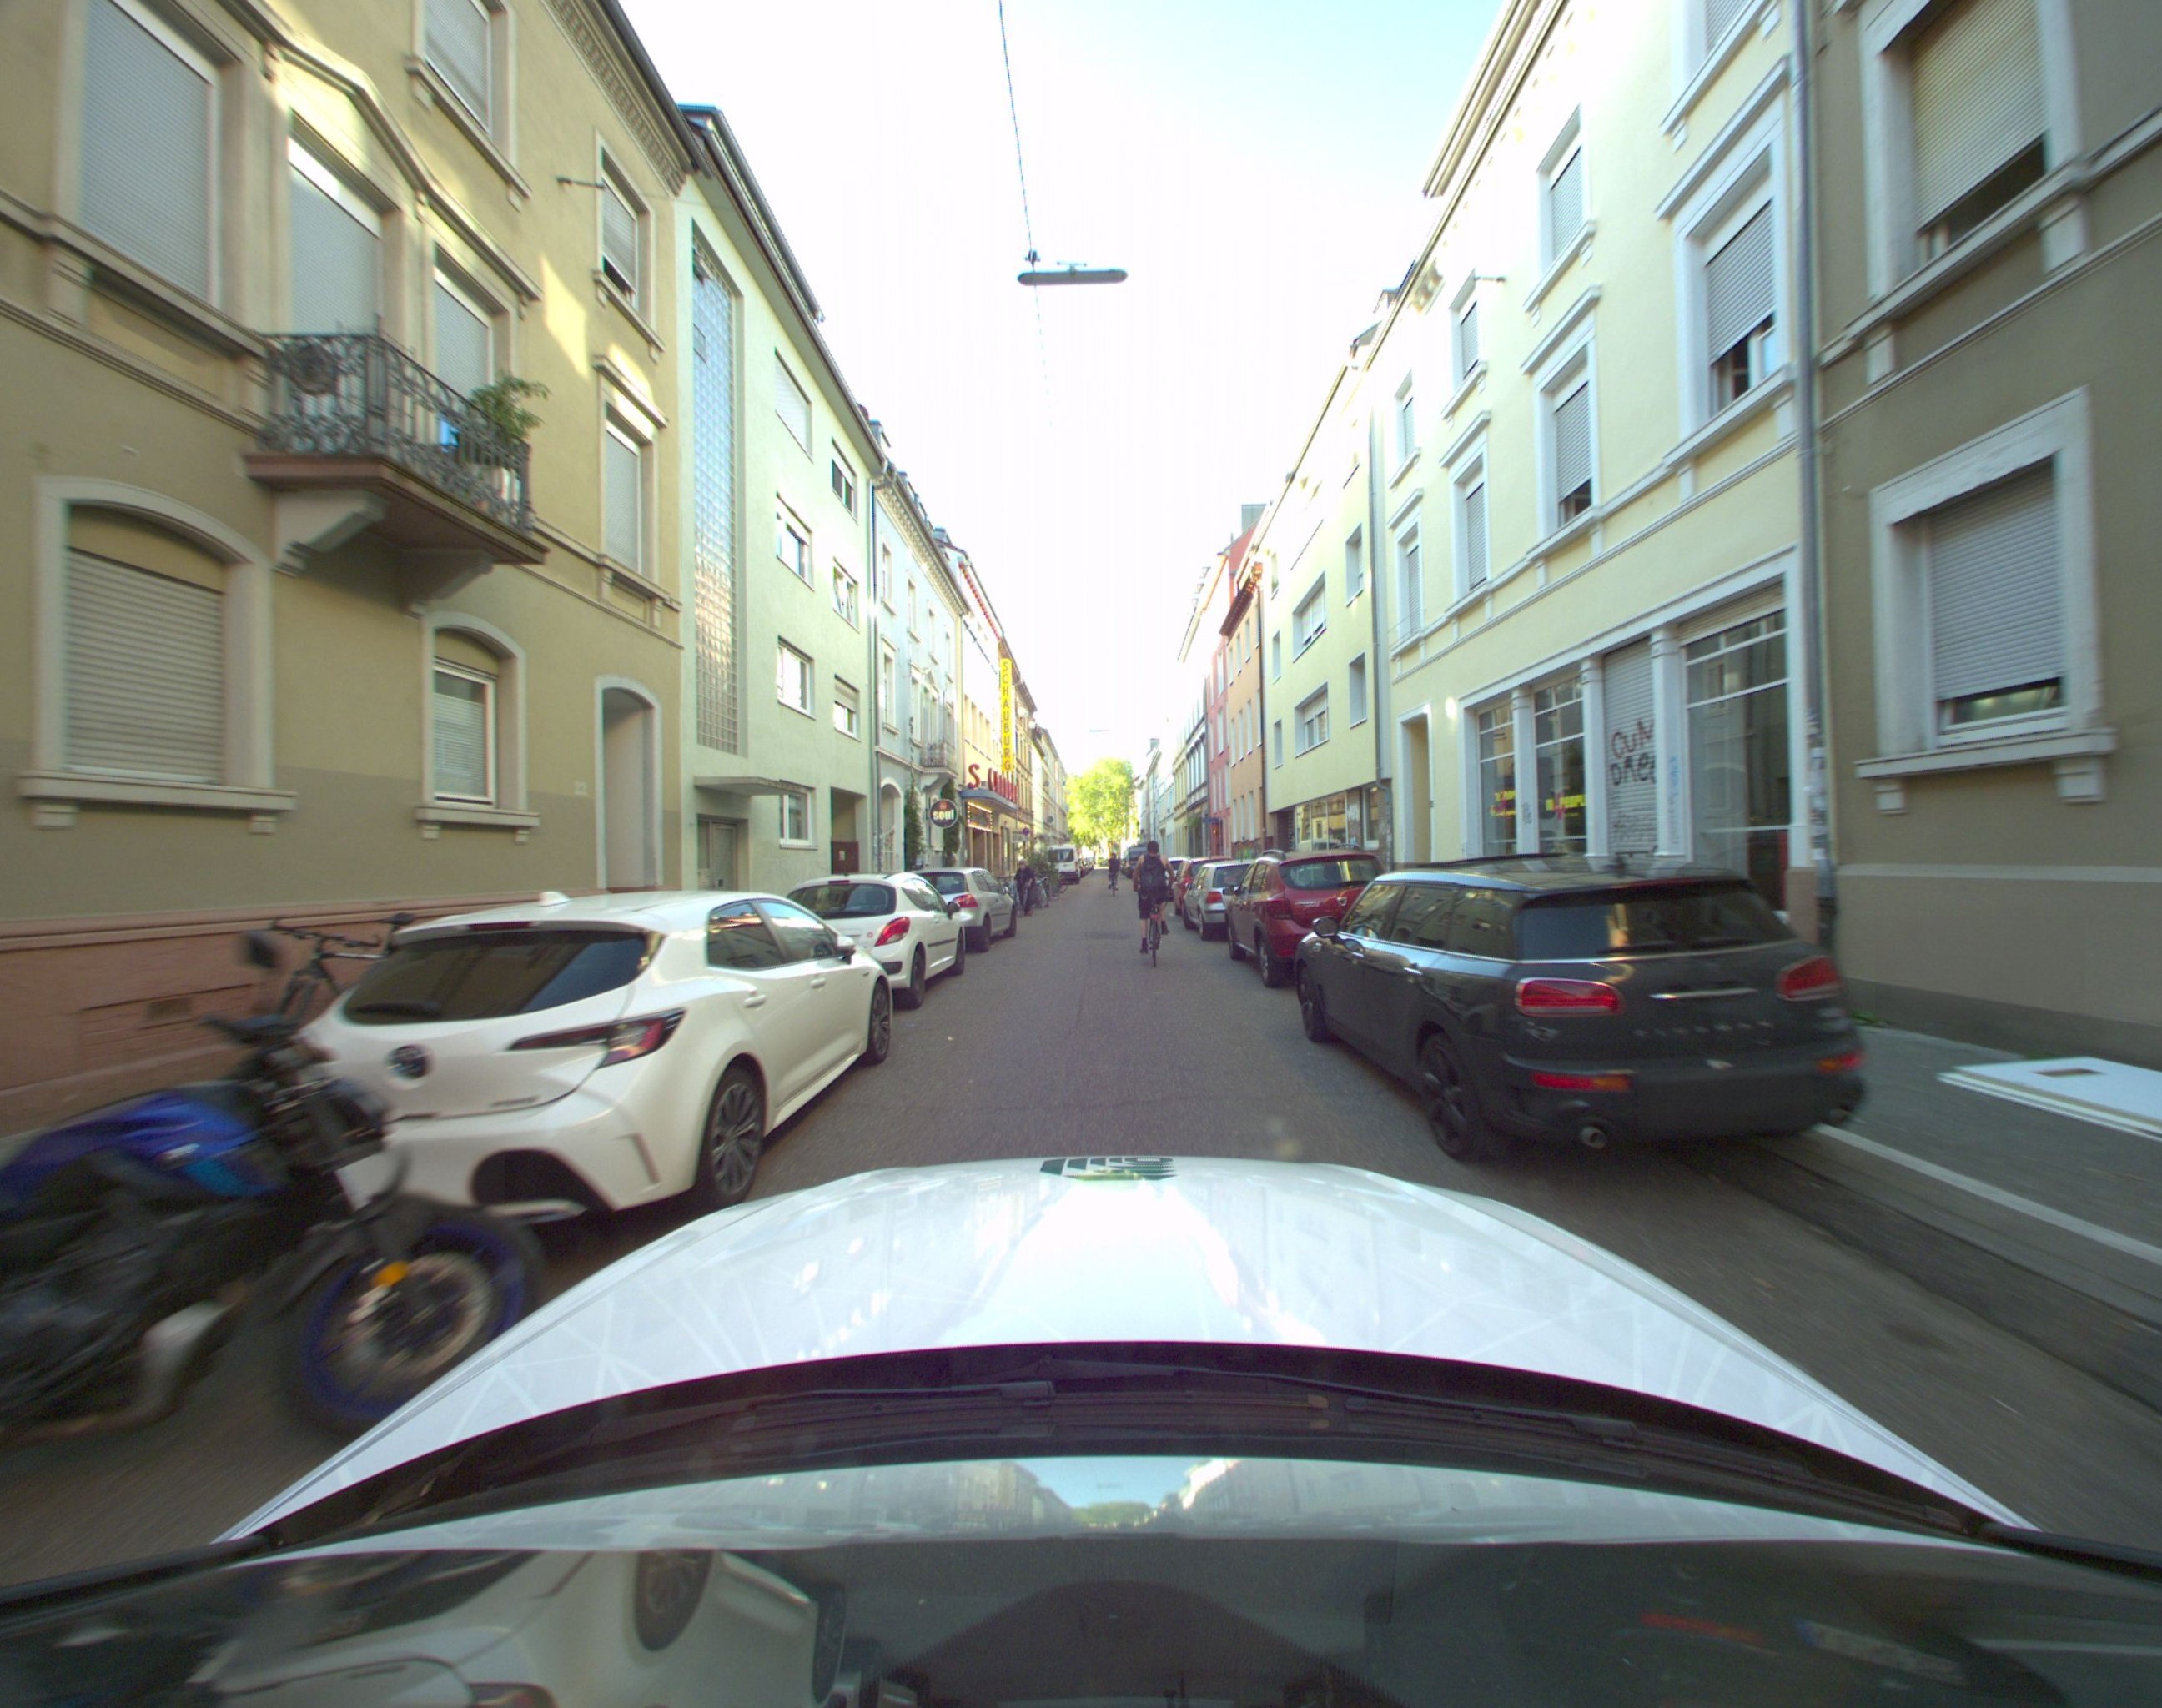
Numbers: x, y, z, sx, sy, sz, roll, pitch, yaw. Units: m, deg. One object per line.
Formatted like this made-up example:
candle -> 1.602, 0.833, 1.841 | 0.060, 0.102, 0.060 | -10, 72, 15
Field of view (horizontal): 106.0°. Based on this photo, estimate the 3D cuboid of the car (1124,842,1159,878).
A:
car -> 4.650, 0.483, 63.579 | 2.299, 2.538, 6.771 | -4, -1, 2

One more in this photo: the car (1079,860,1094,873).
car -> 0.745, 1.540, 100.799 | 1.666, 1.442, 4.166 | -4, -1, 2

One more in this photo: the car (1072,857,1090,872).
car -> 0.054, 1.141, 85.276 | 1.666, 1.442, 4.166 | -4, -1, 2

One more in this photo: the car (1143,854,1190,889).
car -> 3.775, 0.784, 36.549 | 1.704, 1.393, 4.001 | -4, -1, 2

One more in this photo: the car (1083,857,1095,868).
car -> 1.233, 1.300, 120.606 | 1.666, 1.442, 4.166 | -4, -1, 2

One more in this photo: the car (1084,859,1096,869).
car -> 1.408, 1.638, 127.962 | 1.666, 1.442, 4.166 | -4, -1, 2

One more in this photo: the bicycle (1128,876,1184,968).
bicycle -> 1.076, 0.949, 12.180 | 0.699, 1.208, 2.343 | 0, -1, 2

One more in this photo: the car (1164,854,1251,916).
car -> 3.205, 0.762, 21.355 | 1.704, 1.383, 4.001 | -4, -1, 2

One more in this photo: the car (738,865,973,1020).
car -> -2.513, 0.912, 10.034 | 1.666, 1.442, 3.769 | -4, -1, 2

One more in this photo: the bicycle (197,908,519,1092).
bicycle -> -5.455, 1.026, 6.376 | 0.590, 1.089, 2.080 | 0, -1, 2

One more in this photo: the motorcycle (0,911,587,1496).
motorcycle -> -2.668, 0.873, 2.239 | 2.151, 1.359, 0.537 | 0, -1, -17

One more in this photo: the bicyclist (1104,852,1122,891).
bicyclist -> 1.344, 0.730, 34.089 | 0.699, 1.605, 0.813 | -1, 0, 1

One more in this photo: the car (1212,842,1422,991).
car -> 2.948, 0.723, 11.055 | 1.704, 1.556, 4.001 | -4, -1, 2

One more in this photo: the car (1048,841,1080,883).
car -> -1.057, 0.491, 52.283 | 1.903, 2.497, 4.164 | -2, 0, 0

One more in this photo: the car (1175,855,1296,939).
car -> 2.966, 0.780, 16.394 | 1.704, 1.383, 4.001 | -4, -1, 2

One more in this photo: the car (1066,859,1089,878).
car -> -0.227, 1.198, 66.708 | 1.666, 1.442, 4.166 | -4, -1, 2

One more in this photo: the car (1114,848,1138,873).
car -> 4.856, 0.726, 89.035 | 2.299, 2.538, 6.771 | -4, -1, 2

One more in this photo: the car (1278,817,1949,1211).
car -> 2.680, 0.687, 5.372 | 1.810, 1.521, 4.001 | -4, -1, 1

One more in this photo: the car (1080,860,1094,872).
car -> 0.807, 1.580, 108.026 | 1.666, 1.442, 4.166 | -4, -1, 2

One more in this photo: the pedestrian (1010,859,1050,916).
pedestrian -> -1.469, 0.948, 23.351 | 0.904, 1.578, 0.765 | 1, -1, -35

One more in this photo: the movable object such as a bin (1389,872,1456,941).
movable object such as a bin -> 5.745, 0.867, 13.743 | 0.803, 1.075, 0.679 | -4, -1, 6

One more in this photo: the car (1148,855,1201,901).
car -> 3.502, 0.898, 31.096 | 1.615, 1.550, 4.001 | -4, -1, 2

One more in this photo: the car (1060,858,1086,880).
car -> -0.558, 1.094, 59.210 | 1.666, 1.442, 4.166 | -4, -1, 2

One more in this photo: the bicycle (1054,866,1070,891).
bicycle -> -0.917, 1.165, 38.876 | 0.756, 1.163, 2.272 | 0, -1, -2

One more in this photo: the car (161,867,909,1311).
car -> -2.359, 0.852, 4.947 | 1.667, 1.442, 4.164 | -3, -1, 0

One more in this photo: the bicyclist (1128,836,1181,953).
bicyclist -> 1.061, 0.577, 11.977 | 0.699, 1.633, 1.090 | 0, -1, 2

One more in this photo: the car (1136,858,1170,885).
car -> 4.204, 1.014, 48.094 | 1.704, 1.447, 4.001 | -4, -1, 2

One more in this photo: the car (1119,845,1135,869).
car -> 7.617, 0.478, 136.394 | 2.299, 3.768, 6.771 | -3, -1, 2

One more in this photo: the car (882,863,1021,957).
car -> -2.285, 0.948, 15.340 | 1.664, 1.442, 3.758 | -4, -1, 4

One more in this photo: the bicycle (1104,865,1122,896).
bicycle -> 1.339, 1.093, 34.127 | 0.699, 1.208, 2.342 | -1, 0, 1

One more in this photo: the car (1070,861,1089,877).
car -> -0.089, 1.444, 79.247 | 1.666, 1.442, 4.166 | -4, -1, 2

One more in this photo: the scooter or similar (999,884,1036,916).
scooter or similar -> -1.807, 1.292, 23.106 | 0.774, 0.873, 0.765 | 0, -1, -34

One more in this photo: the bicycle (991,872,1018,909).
bicycle -> -2.547, 1.191, 27.162 | 0.756, 1.134, 2.272 | 0, -1, -2

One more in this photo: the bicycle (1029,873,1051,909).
bicycle -> -1.344, 1.199, 27.028 | 0.697, 1.105, 2.272 | 0, -1, -2
